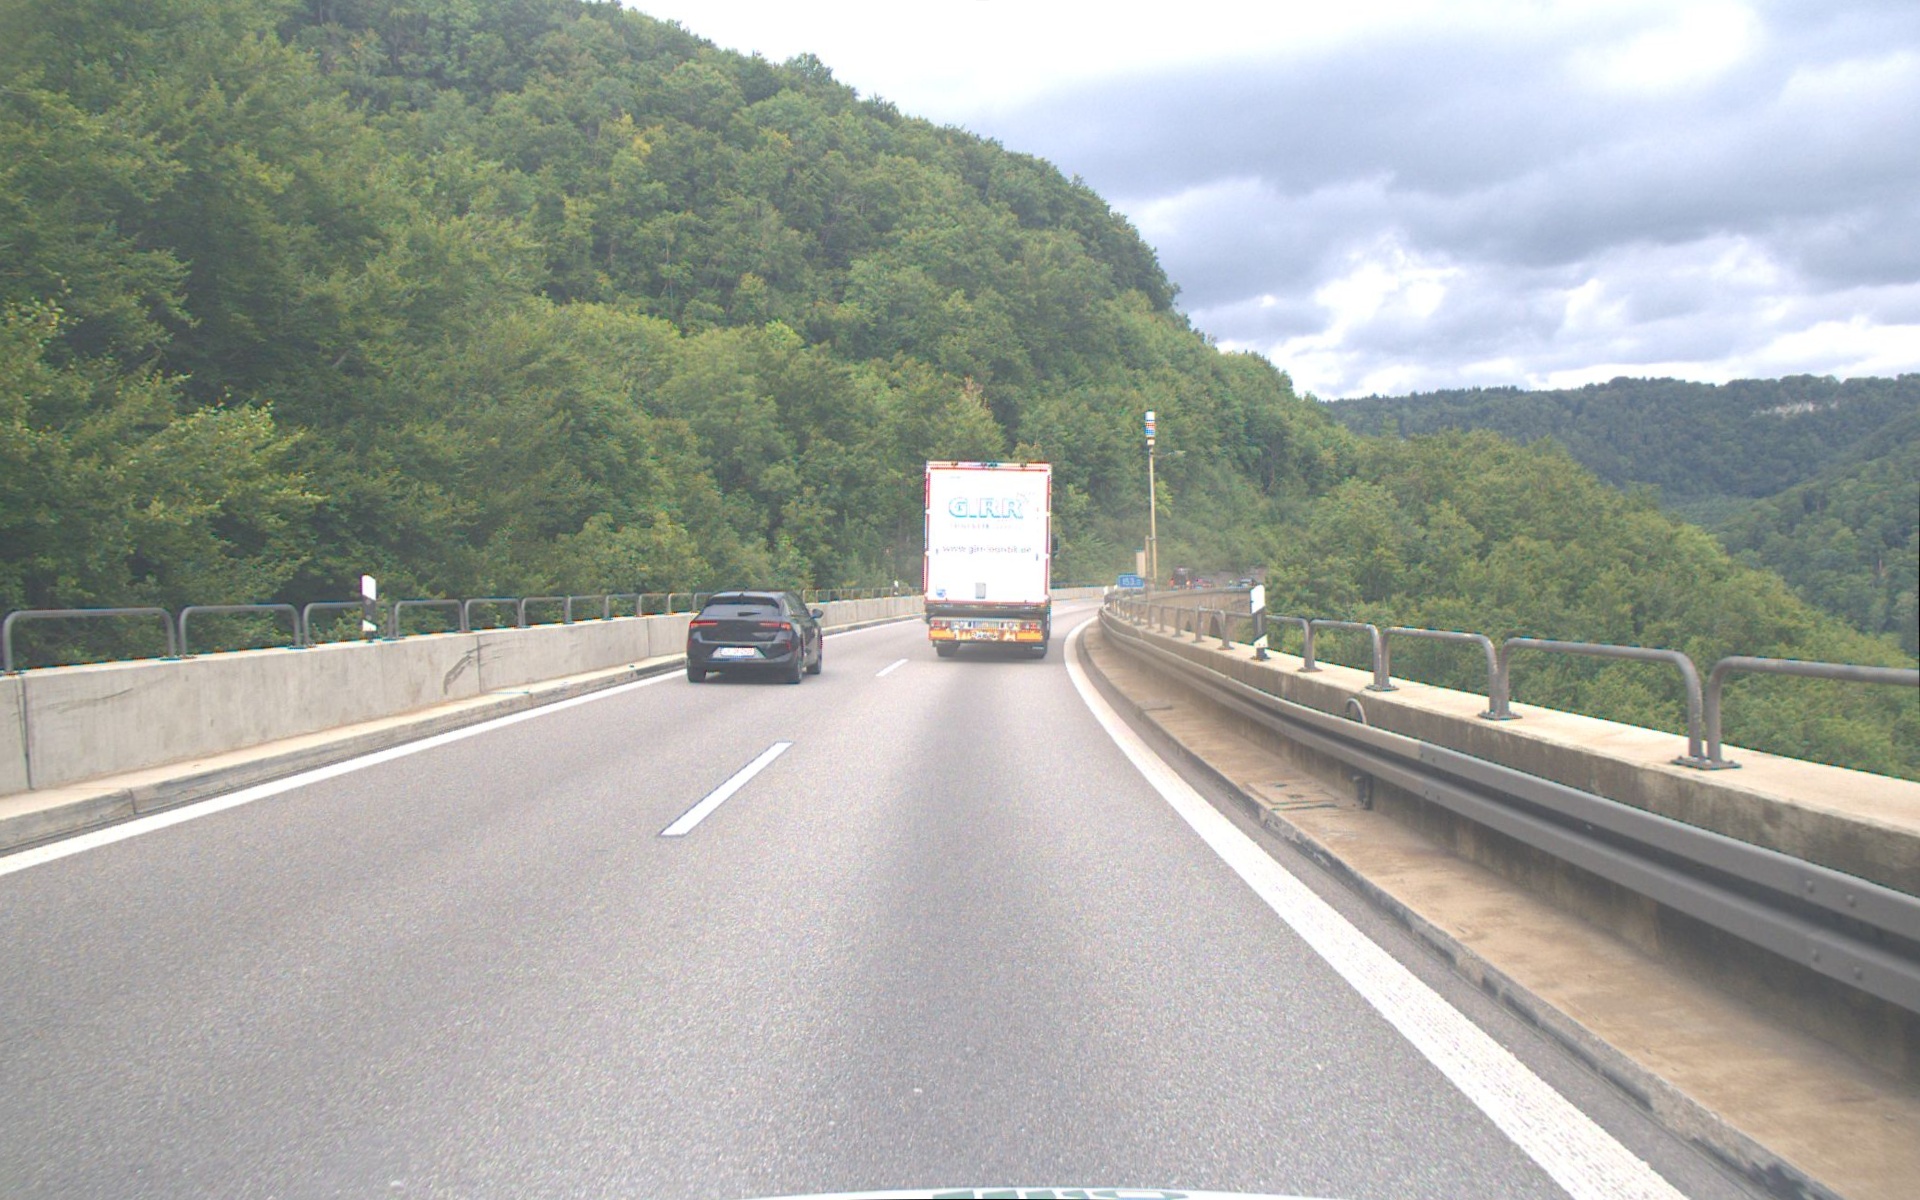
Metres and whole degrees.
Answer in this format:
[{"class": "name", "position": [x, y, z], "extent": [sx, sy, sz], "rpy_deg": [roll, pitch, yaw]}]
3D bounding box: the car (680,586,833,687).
[{"class": "car", "position": [-3.208, 0.536, 26.934], "extent": [1.736, 1.486, 4.583], "rpy_deg": [1, 0, 2]}]

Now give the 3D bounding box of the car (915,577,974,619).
[{"class": "car", "position": [-0.549, -0.061, 63.492], "extent": [1.844, 1.536, 4.421], "rpy_deg": [0, 0, 5]}]

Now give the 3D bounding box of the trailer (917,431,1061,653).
[{"class": "trailer", "position": [0.950, -1.136, 38.873], "extent": [2.754, 4.378, 12.250], "rpy_deg": [0, 0, 4]}]

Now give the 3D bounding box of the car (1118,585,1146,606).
[{"class": "car", "position": [15.337, -0.371, 147.438], "extent": [1.951, 1.825, 4.003], "rpy_deg": [0, -1, 13]}]

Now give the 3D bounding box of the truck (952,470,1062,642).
[{"class": "truck", "position": [1.399, -1.123, 45.407], "extent": [2.754, 4.378, 6.262], "rpy_deg": [0, 0, 4]}]

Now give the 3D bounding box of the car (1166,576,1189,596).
[{"class": "car", "position": [22.578, -1.419, 171.472], "extent": [1.951, 2.049, 4.003], "rpy_deg": [0, -1, 13]}]

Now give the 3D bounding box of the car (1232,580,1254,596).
[{"class": "car", "position": [32.408, -1.346, 189.178], "extent": [1.951, 1.825, 4.002], "rpy_deg": [0, -1, 17]}]
